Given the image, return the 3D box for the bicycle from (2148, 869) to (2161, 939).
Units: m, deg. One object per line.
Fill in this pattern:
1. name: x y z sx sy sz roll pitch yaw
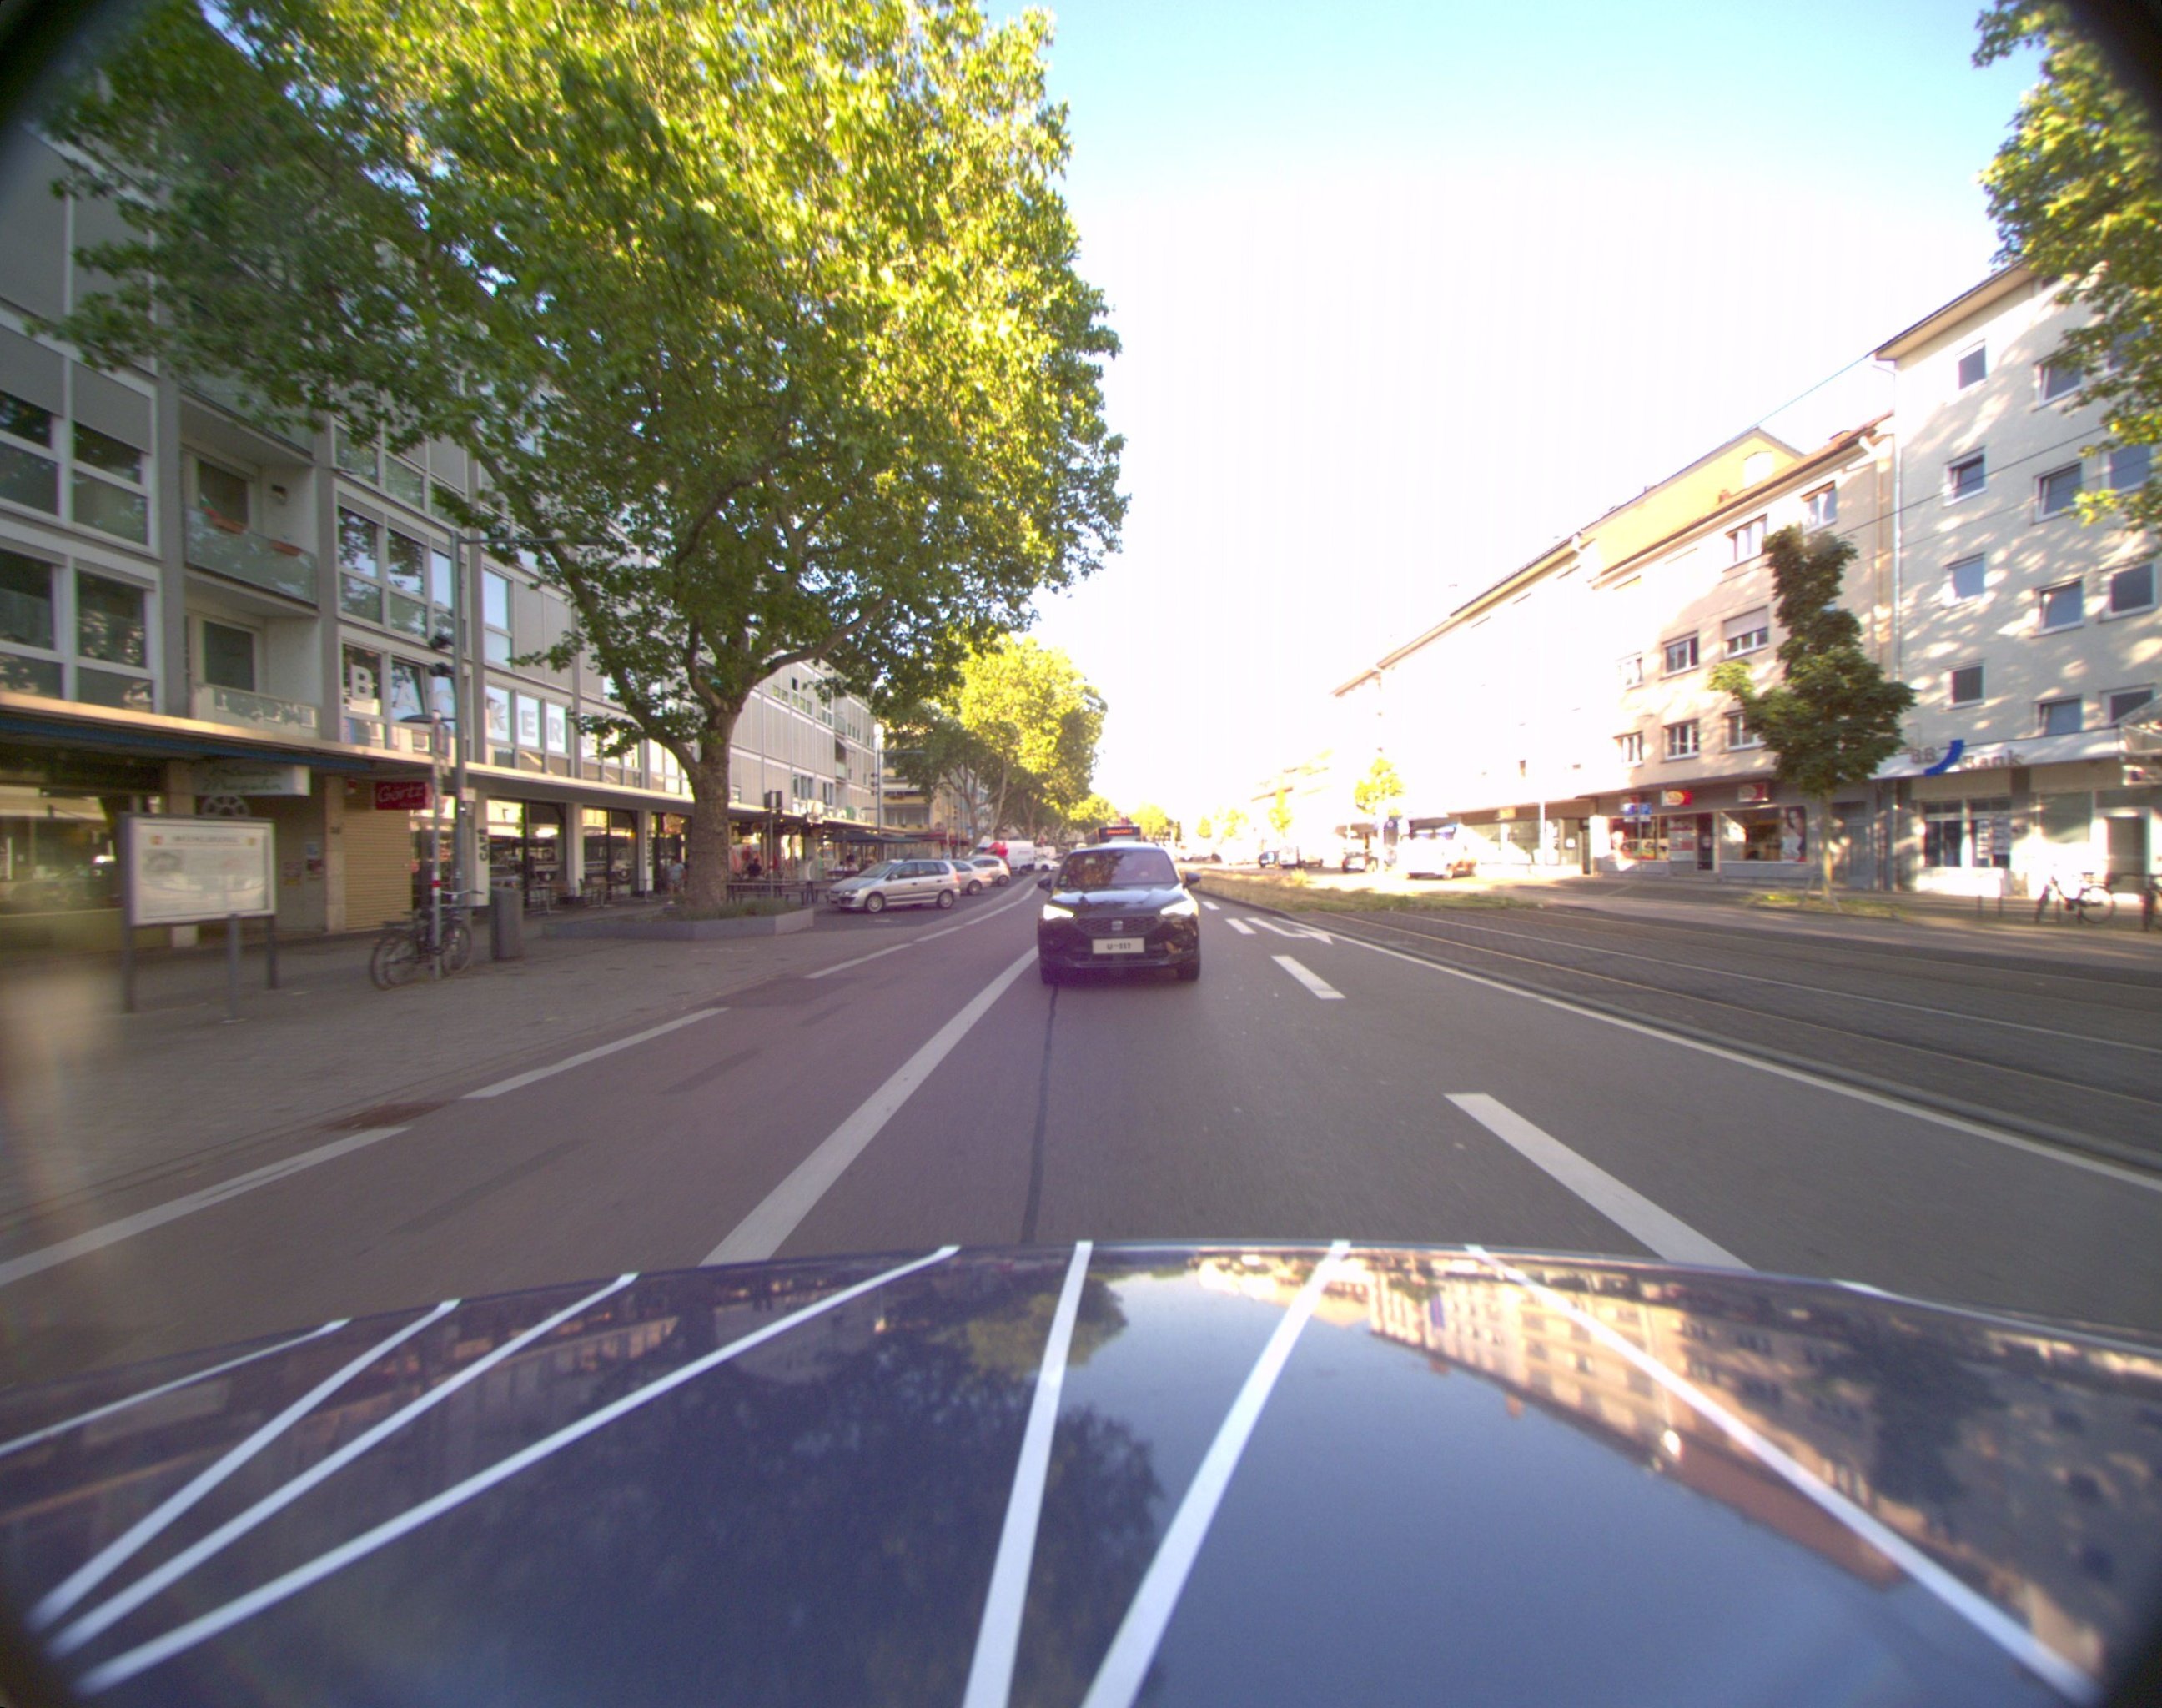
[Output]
1. bicycle: 18.398 0.777 12.136 1.899 1.118 0.652 -2 1 -3

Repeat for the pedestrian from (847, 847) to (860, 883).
1. pedestrian: -12.774 0.600 42.653 0.552 2.002 0.577 -3 1 -15

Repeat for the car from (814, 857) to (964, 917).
1. car: -5.661 0.912 22.788 1.804 1.597 4.008 0 1 42

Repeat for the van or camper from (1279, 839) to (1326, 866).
1. van or camper: 18.444 -0.141 63.161 1.795 1.978 4.459 -2 1 45

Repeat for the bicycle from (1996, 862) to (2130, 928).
1. bicycle: 18.330 0.752 14.191 1.899 1.118 0.534 -2 1 -3

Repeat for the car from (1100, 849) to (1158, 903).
1. car: 1.524 0.643 24.340 1.658 1.571 4.001 -1 0 3

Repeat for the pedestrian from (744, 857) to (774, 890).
1. pedestrian: -13.327 0.798 31.445 0.750 1.354 0.962 -1 1 4

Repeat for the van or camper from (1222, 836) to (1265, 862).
1. van or camper: 18.063 -0.610 84.000 1.995 2.652 6.410 -2 1 38

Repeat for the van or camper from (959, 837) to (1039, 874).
1. van or camper: -5.835 0.072 54.482 5.473 2.455 1.994 -1 1 -40

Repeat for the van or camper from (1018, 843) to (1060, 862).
1. van or camper: -5.600 -0.257 101.732 5.474 2.455 1.994 -1 1 -43

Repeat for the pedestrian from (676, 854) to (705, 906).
1. pedestrian: -12.003 0.786 23.382 0.538 1.582 0.687 1 1 -1

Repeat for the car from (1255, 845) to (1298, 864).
1. car: 18.042 0.054 70.063 4.007 1.577 1.874 -3 1 -44

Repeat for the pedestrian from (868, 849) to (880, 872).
1. pedestrian: -14.190 0.431 52.092 0.540 1.582 0.685 0 2 -43

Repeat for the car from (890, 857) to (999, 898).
1. car: -5.361 0.893 30.115 4.008 1.428 1.655 -1 2 -44

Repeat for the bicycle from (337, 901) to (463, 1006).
1. bicycle: -8.498 1.192 9.564 0.295 1.095 1.716 2 0 -10

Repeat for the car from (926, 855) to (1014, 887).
1. car: -5.401 0.804 37.313 4.008 1.428 1.655 -1 2 -40

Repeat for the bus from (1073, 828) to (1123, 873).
1. bus: 1.102 -0.404 58.401 2.872 2.962 12.234 -3 1 -3

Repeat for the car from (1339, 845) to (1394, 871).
1. car: 18.637 0.230 49.551 1.765 1.482 4.459 -2 1 43

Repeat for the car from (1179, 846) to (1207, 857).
1. car: 17.516 -0.395 118.691 3.920 1.482 1.766 -3 1 -23

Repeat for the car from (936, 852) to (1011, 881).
1. car: -6.172 0.696 43.884 4.008 1.514 1.655 -1 2 -40

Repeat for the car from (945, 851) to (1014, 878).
1. car: -6.278 0.620 47.093 4.008 1.555 1.655 -1 2 -40

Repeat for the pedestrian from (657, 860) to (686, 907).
1. pedestrian: -12.613 0.900 23.416 0.538 1.392 0.687 1 1 -1

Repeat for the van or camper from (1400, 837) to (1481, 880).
1. van or camper: 18.135 0.204 38.227 4.823 1.887 1.946 -3 1 -43

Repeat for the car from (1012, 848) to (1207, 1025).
1. car: 0.421 0.788 9.349 1.807 1.638 4.001 -3 0 4

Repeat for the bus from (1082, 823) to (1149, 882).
1. bus: 1.844 -0.228 46.239 2.872 2.962 12.234 -3 1 -3

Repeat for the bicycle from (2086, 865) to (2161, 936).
1. bicycle: 18.375 0.765 12.938 1.899 1.118 0.534 -2 1 -3

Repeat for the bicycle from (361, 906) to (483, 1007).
1. bicycle: -8.206 1.234 9.540 0.295 1.034 1.716 2 0 -10
